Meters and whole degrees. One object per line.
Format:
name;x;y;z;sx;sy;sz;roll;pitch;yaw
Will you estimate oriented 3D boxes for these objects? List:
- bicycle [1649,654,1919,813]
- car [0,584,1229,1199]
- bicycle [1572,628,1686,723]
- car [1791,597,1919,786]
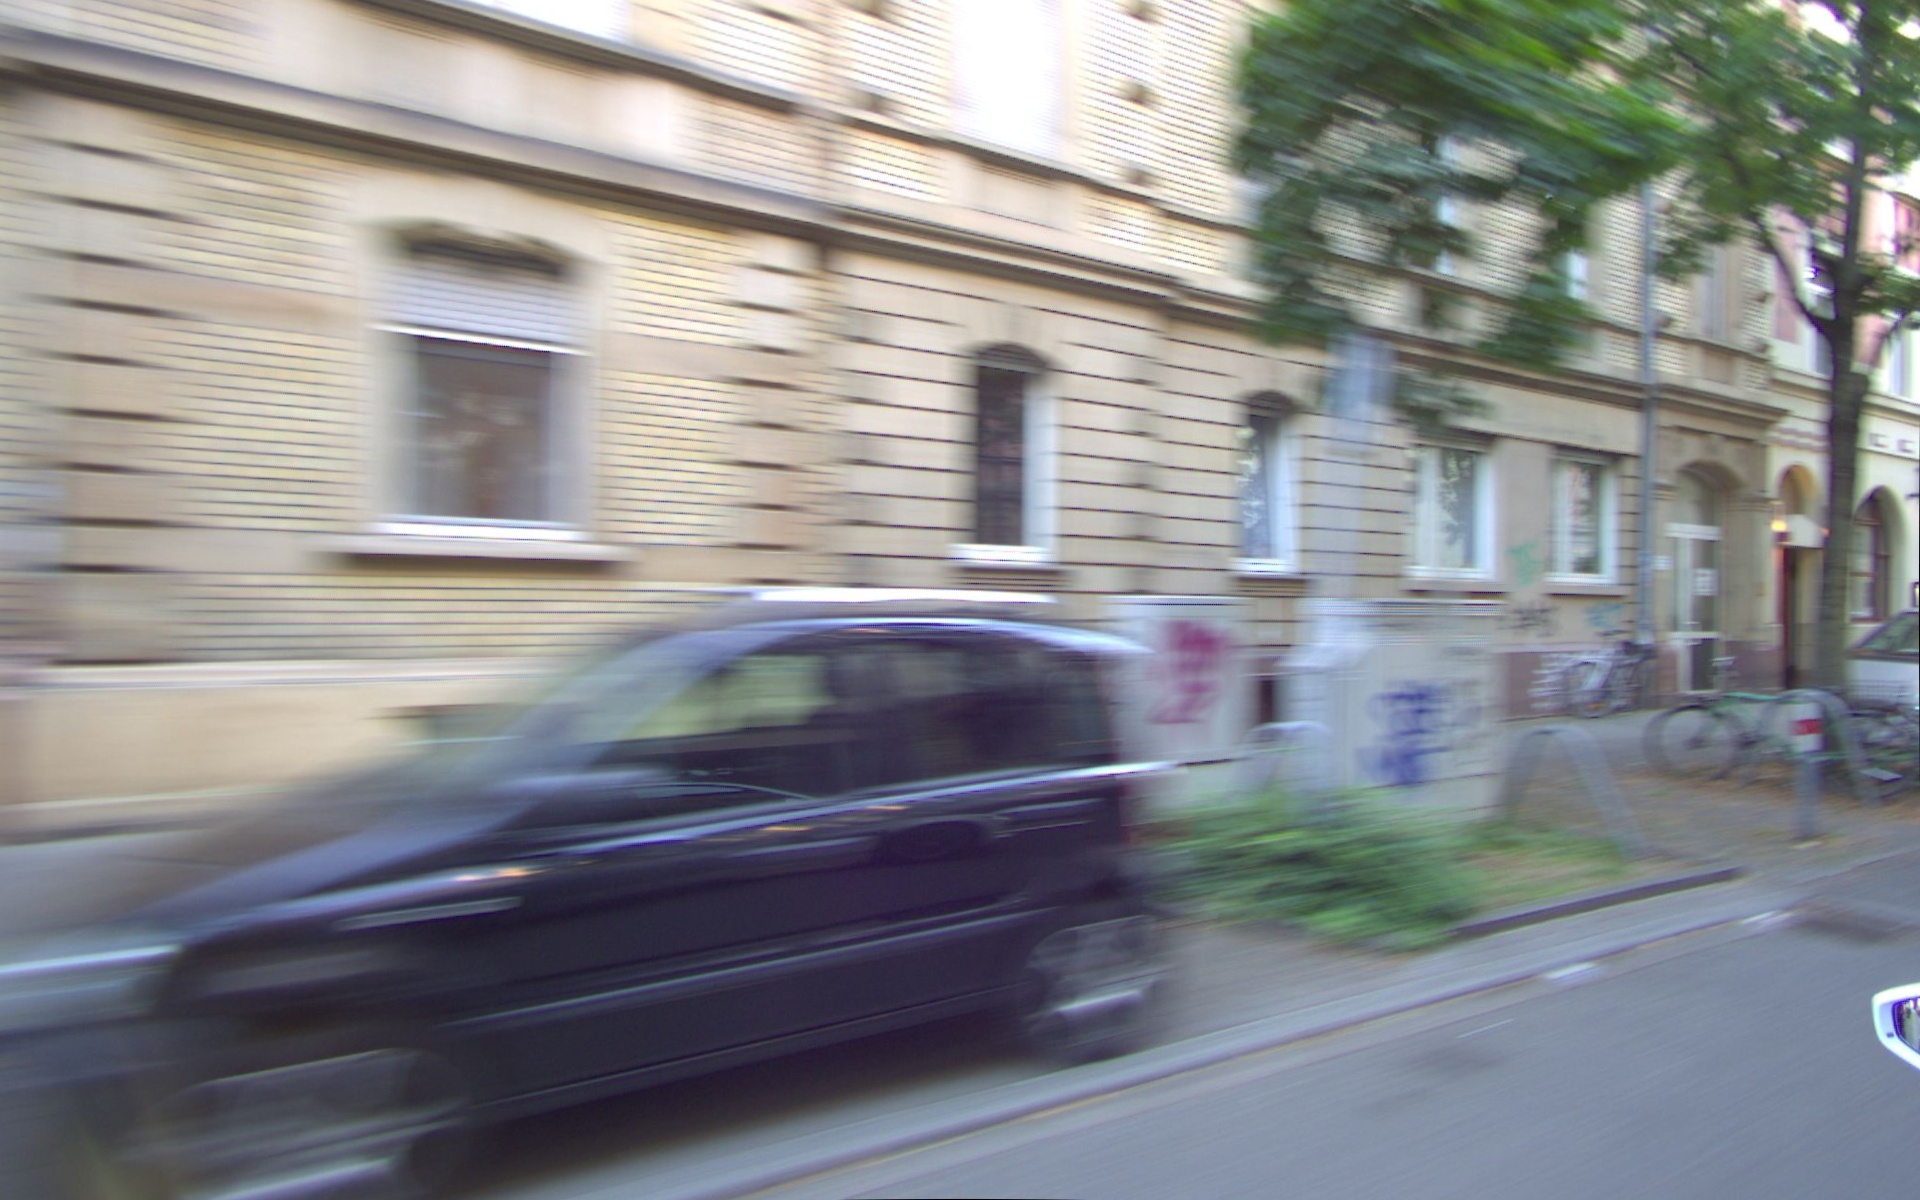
bicycle;6.874;1.048;8.319;1.843;1.074;0.593;2;1;43
car;-0.952;0.745;3.372;3.518;1.522;1.512;1;1;-29
bicycle;8.536;0.935;12.804;1.608;1.104;0.459;-1;3;-28
car;9.971;0.807;9.659;3.811;1.629;1.670;0;1;-27
